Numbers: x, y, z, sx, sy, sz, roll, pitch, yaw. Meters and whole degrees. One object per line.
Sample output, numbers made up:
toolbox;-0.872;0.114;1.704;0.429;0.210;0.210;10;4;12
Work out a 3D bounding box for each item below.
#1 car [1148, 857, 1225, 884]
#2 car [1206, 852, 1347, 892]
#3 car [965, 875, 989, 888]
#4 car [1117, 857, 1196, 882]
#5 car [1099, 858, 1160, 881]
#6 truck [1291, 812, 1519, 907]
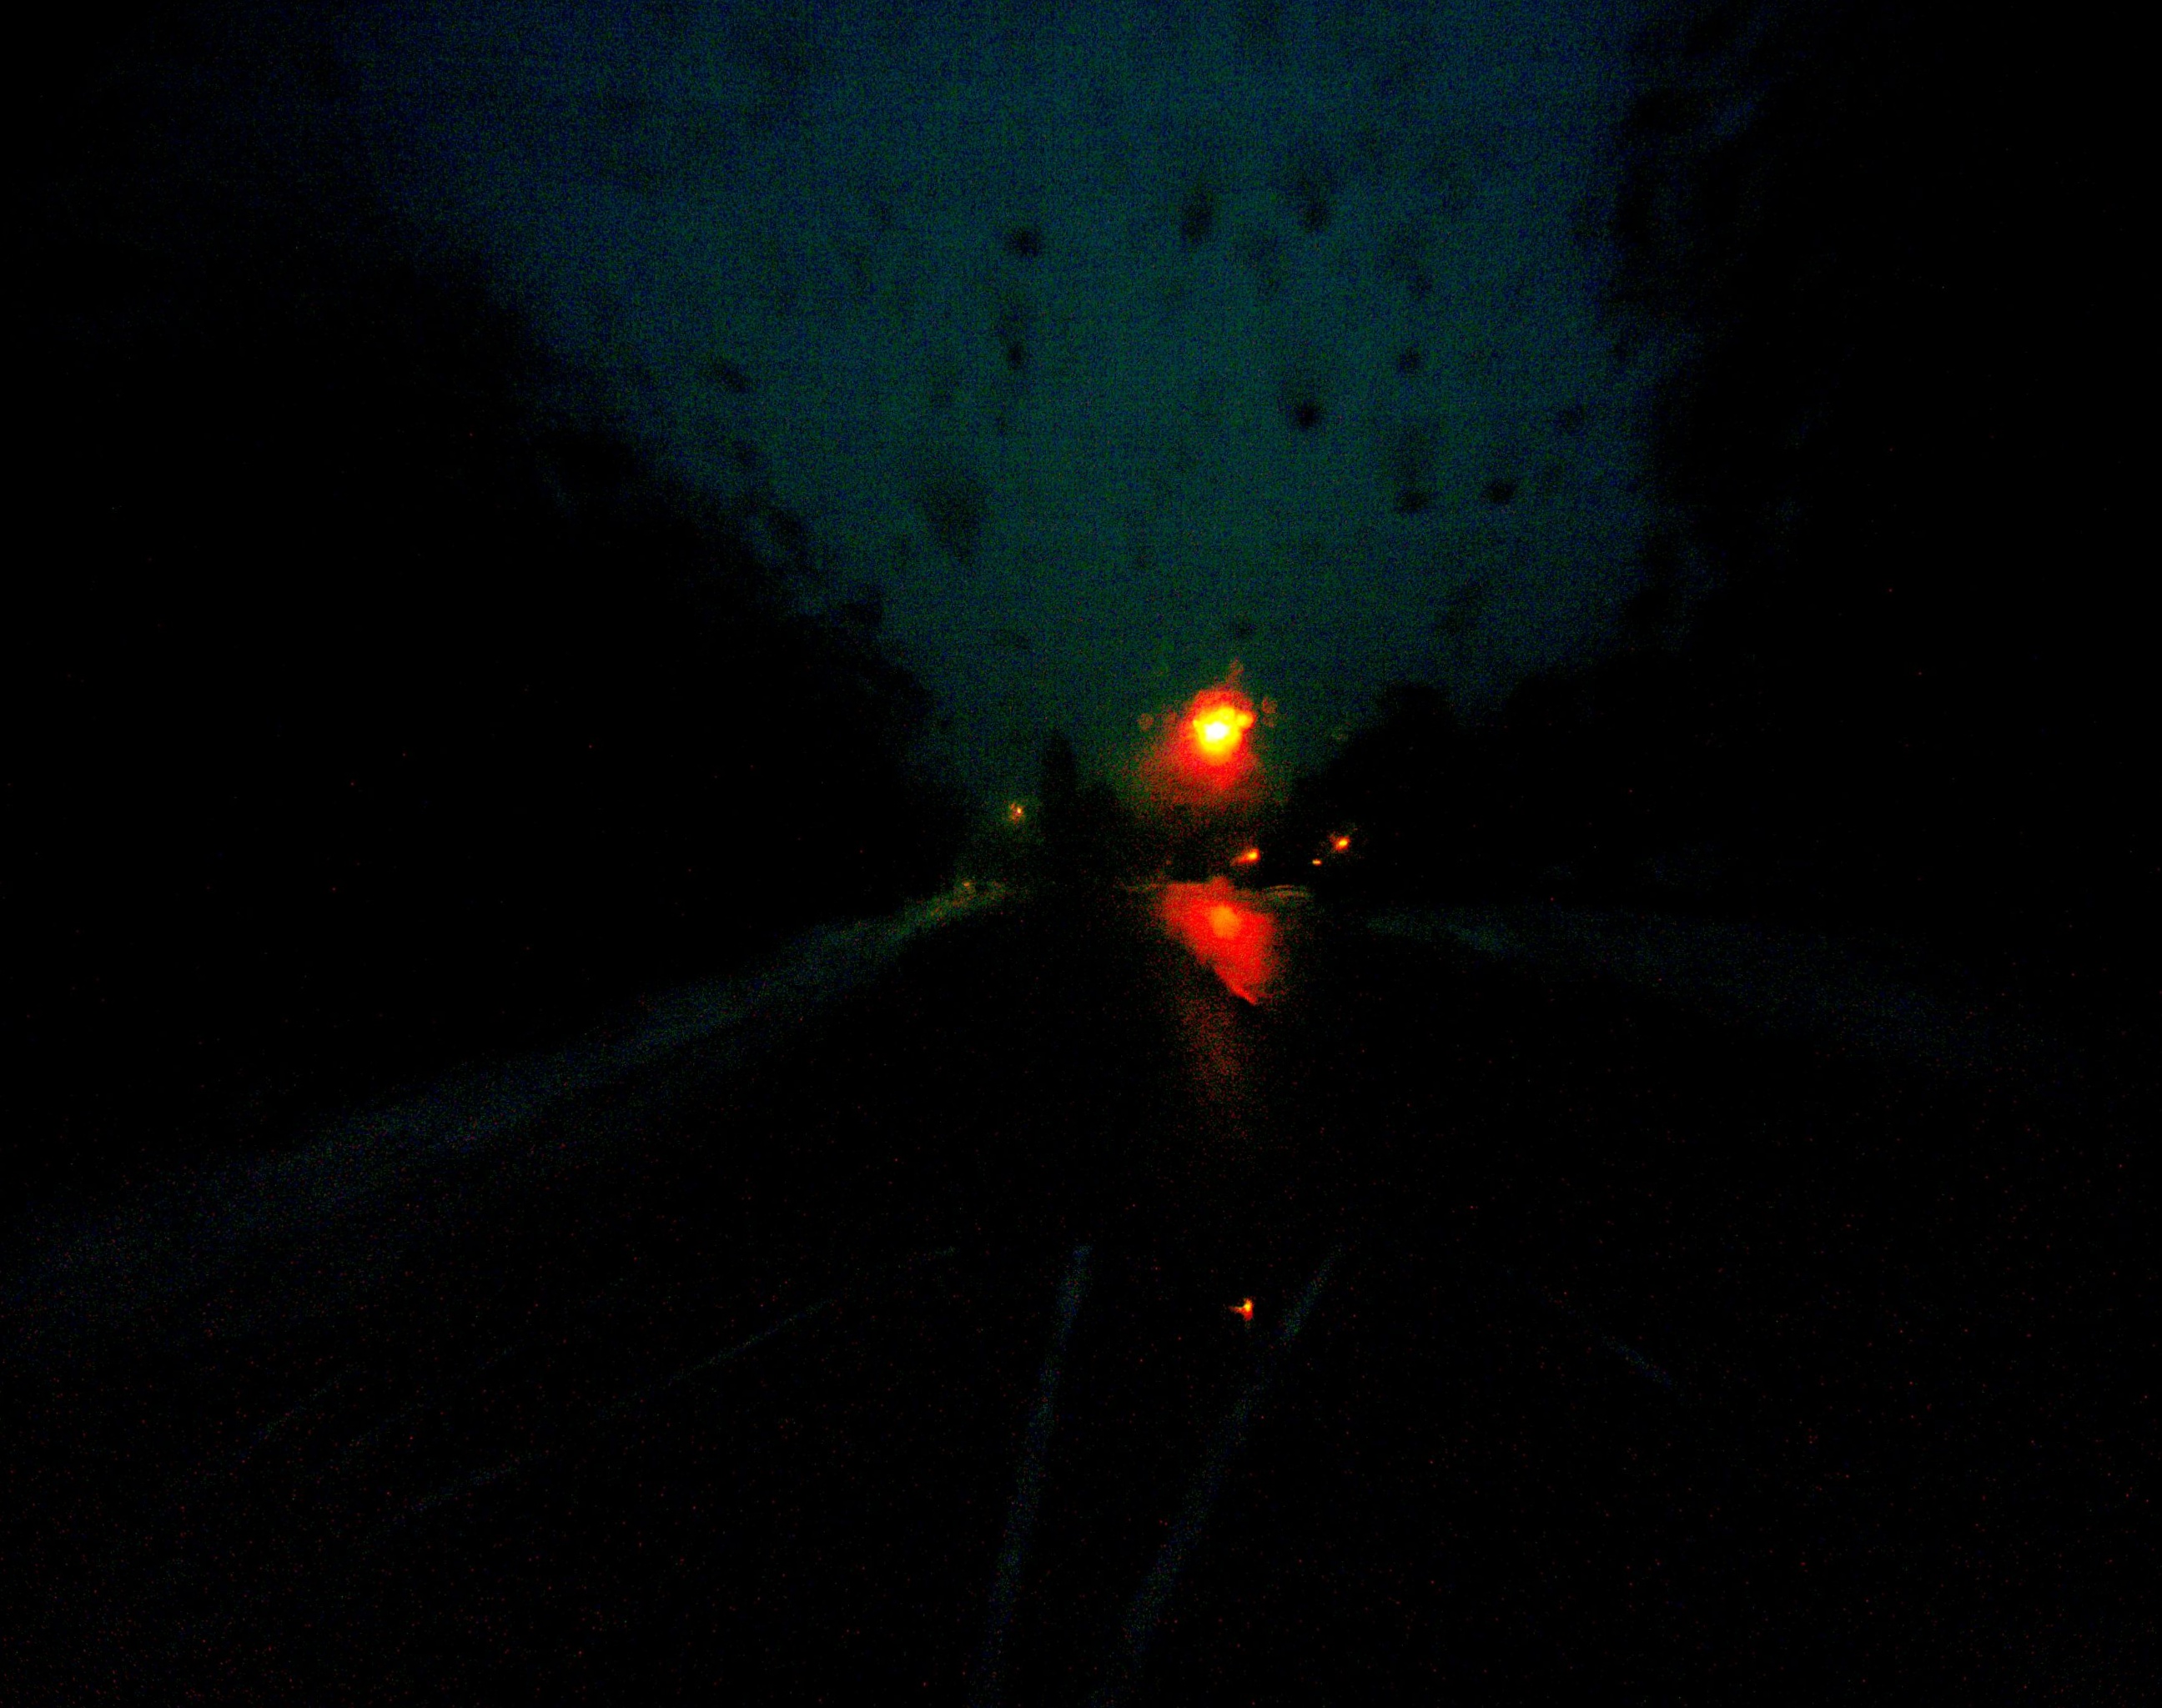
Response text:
car;5.914;0.912;42.931;3.869;1.462;1.937;0;-1;-14
car;7.578;0.692;29.690;4.904;1.476;2.122;0;-1;-10
car;-14.287;3.771;104.100;1.884;1.417;5.385;-4;-2;-21
car;4.834;0.993;48.651;4.546;1.557;2.108;0;-1;-18
car;3.378;1.141;54.234;2.003;1.556;4.987;1;-2;-28
truck;8.417;0.153;19.913;5.279;2.289;1.998;0;-1;-11
